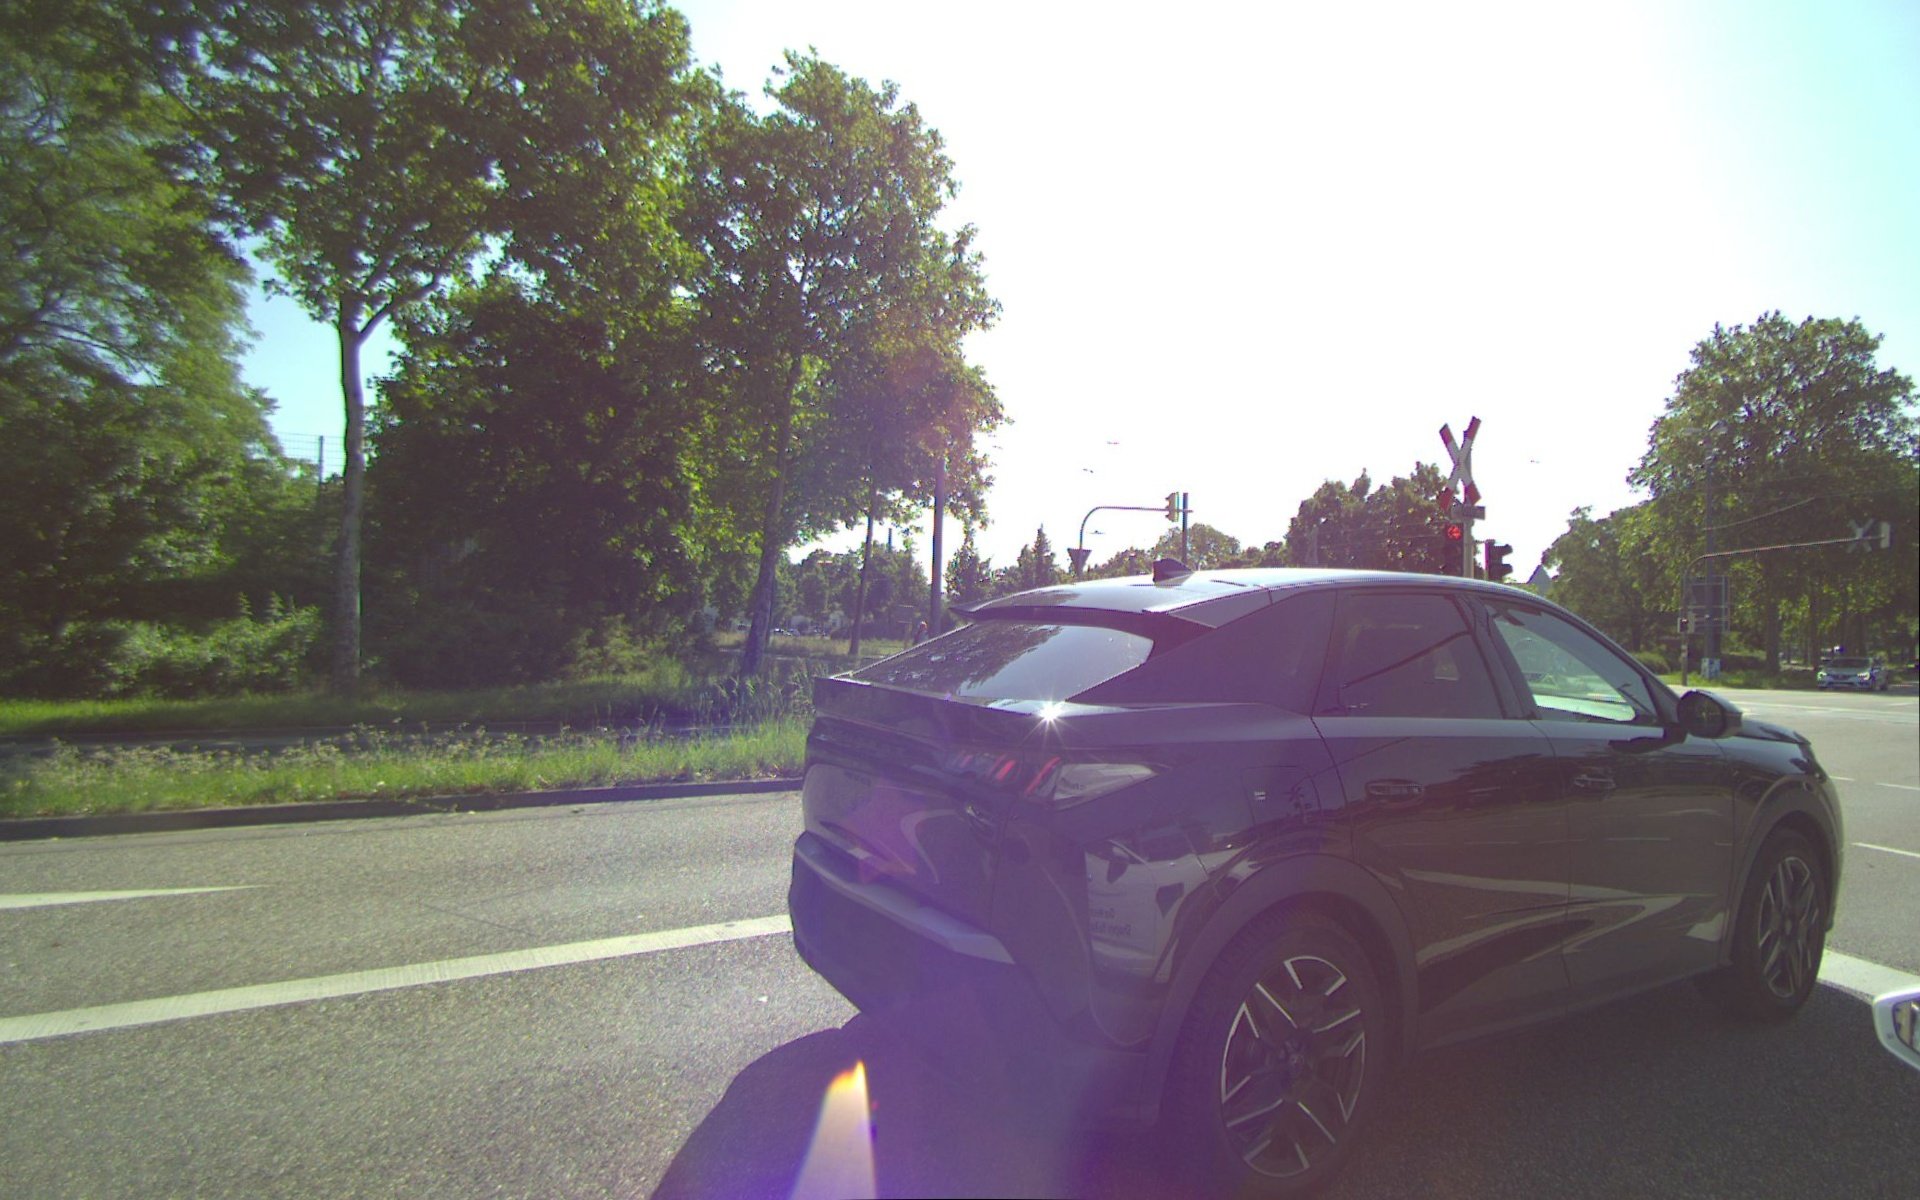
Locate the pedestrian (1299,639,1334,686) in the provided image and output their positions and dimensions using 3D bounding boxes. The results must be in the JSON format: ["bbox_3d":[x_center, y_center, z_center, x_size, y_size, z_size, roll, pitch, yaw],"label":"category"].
[{"bbox_3d":[11.694,2.045,32.960,0.854,1.520,0.698,1,-2,-10],"label":"pedestrian"}]

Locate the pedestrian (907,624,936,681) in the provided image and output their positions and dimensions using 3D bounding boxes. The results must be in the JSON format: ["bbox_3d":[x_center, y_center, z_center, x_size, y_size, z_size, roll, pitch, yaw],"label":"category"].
[{"bbox_3d":[-1.078,1.459,28.034,0.563,1.554,0.601,2,-2,-36],"label":"pedestrian"}]

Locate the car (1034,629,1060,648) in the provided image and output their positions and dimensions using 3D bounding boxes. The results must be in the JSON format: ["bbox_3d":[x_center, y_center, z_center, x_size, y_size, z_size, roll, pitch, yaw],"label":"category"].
[{"bbox_3d":[8.015,3.558,92.852,1.780,1.725,3.985,2,-2,-4],"label":"car"}]

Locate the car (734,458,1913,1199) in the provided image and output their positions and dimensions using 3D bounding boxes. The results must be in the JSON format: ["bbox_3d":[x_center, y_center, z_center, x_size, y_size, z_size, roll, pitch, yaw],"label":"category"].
[{"bbox_3d":[1.570,0.659,3.844,4.384,1.719,1.863,2,-1,-30],"label":"car"}]

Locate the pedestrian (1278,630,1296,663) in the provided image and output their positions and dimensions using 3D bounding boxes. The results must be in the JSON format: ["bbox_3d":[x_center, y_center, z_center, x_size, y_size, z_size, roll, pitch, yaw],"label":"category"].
[{"bbox_3d":[20.190,2.869,62.022,0.706,2.040,0.787,2,-2,-39],"label":"pedestrian"}]

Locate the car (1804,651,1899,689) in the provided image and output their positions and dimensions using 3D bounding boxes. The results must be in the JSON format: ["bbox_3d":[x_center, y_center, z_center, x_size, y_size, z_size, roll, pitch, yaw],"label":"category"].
[{"bbox_3d":[38.214,2.988,43.038,4.606,1.528,1.686,2,-2,-30],"label":"car"}]
